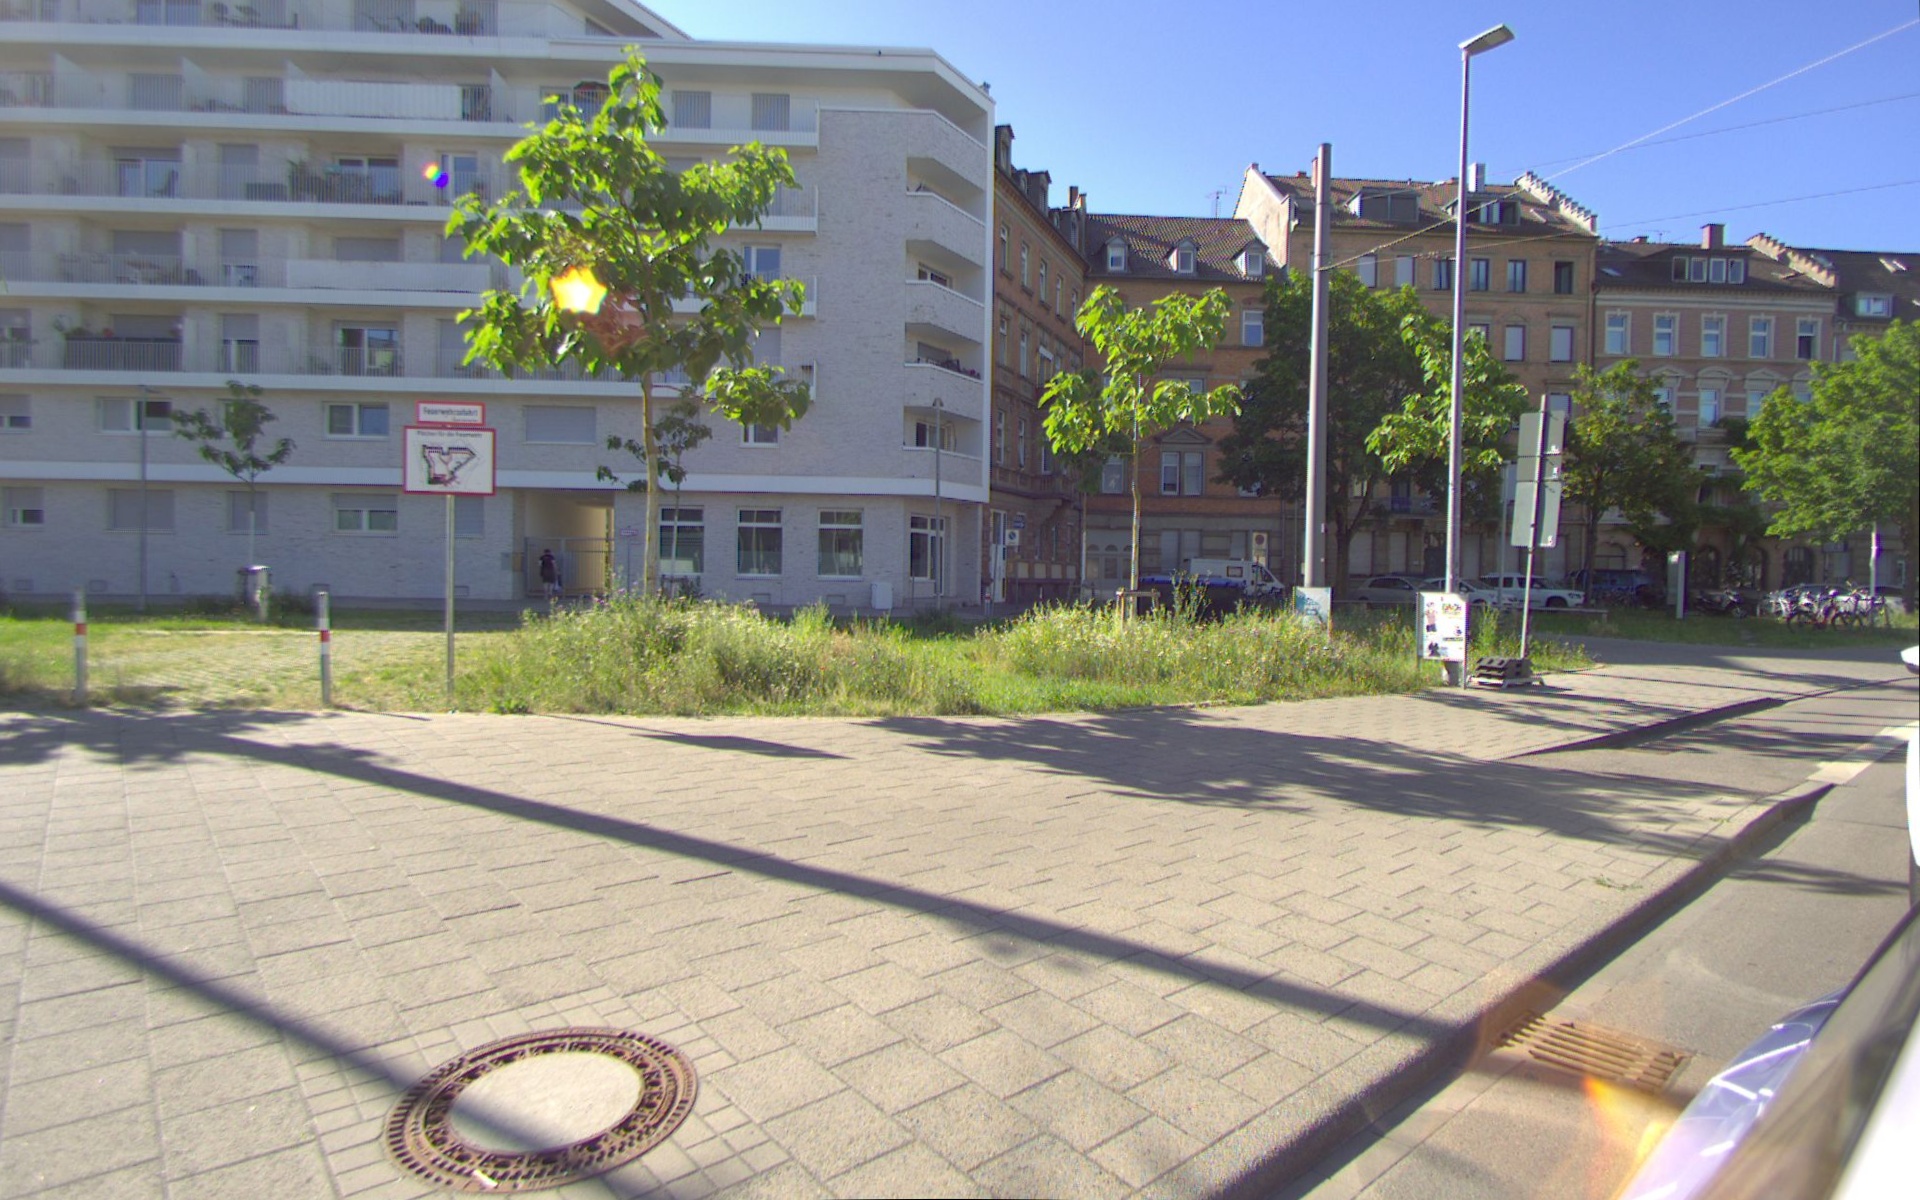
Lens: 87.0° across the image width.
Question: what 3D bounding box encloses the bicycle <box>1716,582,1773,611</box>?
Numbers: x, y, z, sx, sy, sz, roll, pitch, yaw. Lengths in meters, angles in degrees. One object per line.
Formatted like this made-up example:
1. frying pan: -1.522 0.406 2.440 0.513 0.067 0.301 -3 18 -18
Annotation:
1. bicycle: 29.373 -0.145 37.912 0.442 1.037 1.766 0 1 -15

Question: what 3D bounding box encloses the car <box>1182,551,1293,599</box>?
1. car: 12.763 -1.147 46.743 4.553 2.139 2.001 1 1 -1

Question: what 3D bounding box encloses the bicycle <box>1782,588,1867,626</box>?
1. bicycle: 24.751 0.179 29.010 1.742 1.037 0.564 1 1 23

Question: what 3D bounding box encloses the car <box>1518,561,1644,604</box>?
1. car: 25.476 -0.755 41.634 1.964 1.682 3.997 0 2 -38

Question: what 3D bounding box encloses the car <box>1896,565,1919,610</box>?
1. car: 40.489 -0.468 40.099 1.700 1.793 4.791 0 2 -38

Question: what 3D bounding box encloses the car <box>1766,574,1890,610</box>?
1. car: 34.260 -0.341 40.001 1.701 1.348 3.463 0 2 -38

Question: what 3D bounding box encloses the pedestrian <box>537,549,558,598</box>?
1. pedestrian: -14.112 -0.916 34.616 0.513 1.668 0.470 1 1 2

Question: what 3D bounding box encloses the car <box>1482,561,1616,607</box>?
1. car: 22.531 -0.647 38.833 1.964 1.682 3.997 0 2 -38

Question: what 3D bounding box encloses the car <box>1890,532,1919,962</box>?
1. car: 5.850 0.572 4.621 4.262 1.650 1.872 0 2 -41

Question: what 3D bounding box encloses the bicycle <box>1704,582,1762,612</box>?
1. bicycle: 28.441 -0.114 37.269 0.442 1.037 1.766 0 1 -15

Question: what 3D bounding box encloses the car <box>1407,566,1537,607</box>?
1. car: 19.592 -0.554 38.822 1.964 1.482 3.997 0 2 -38
